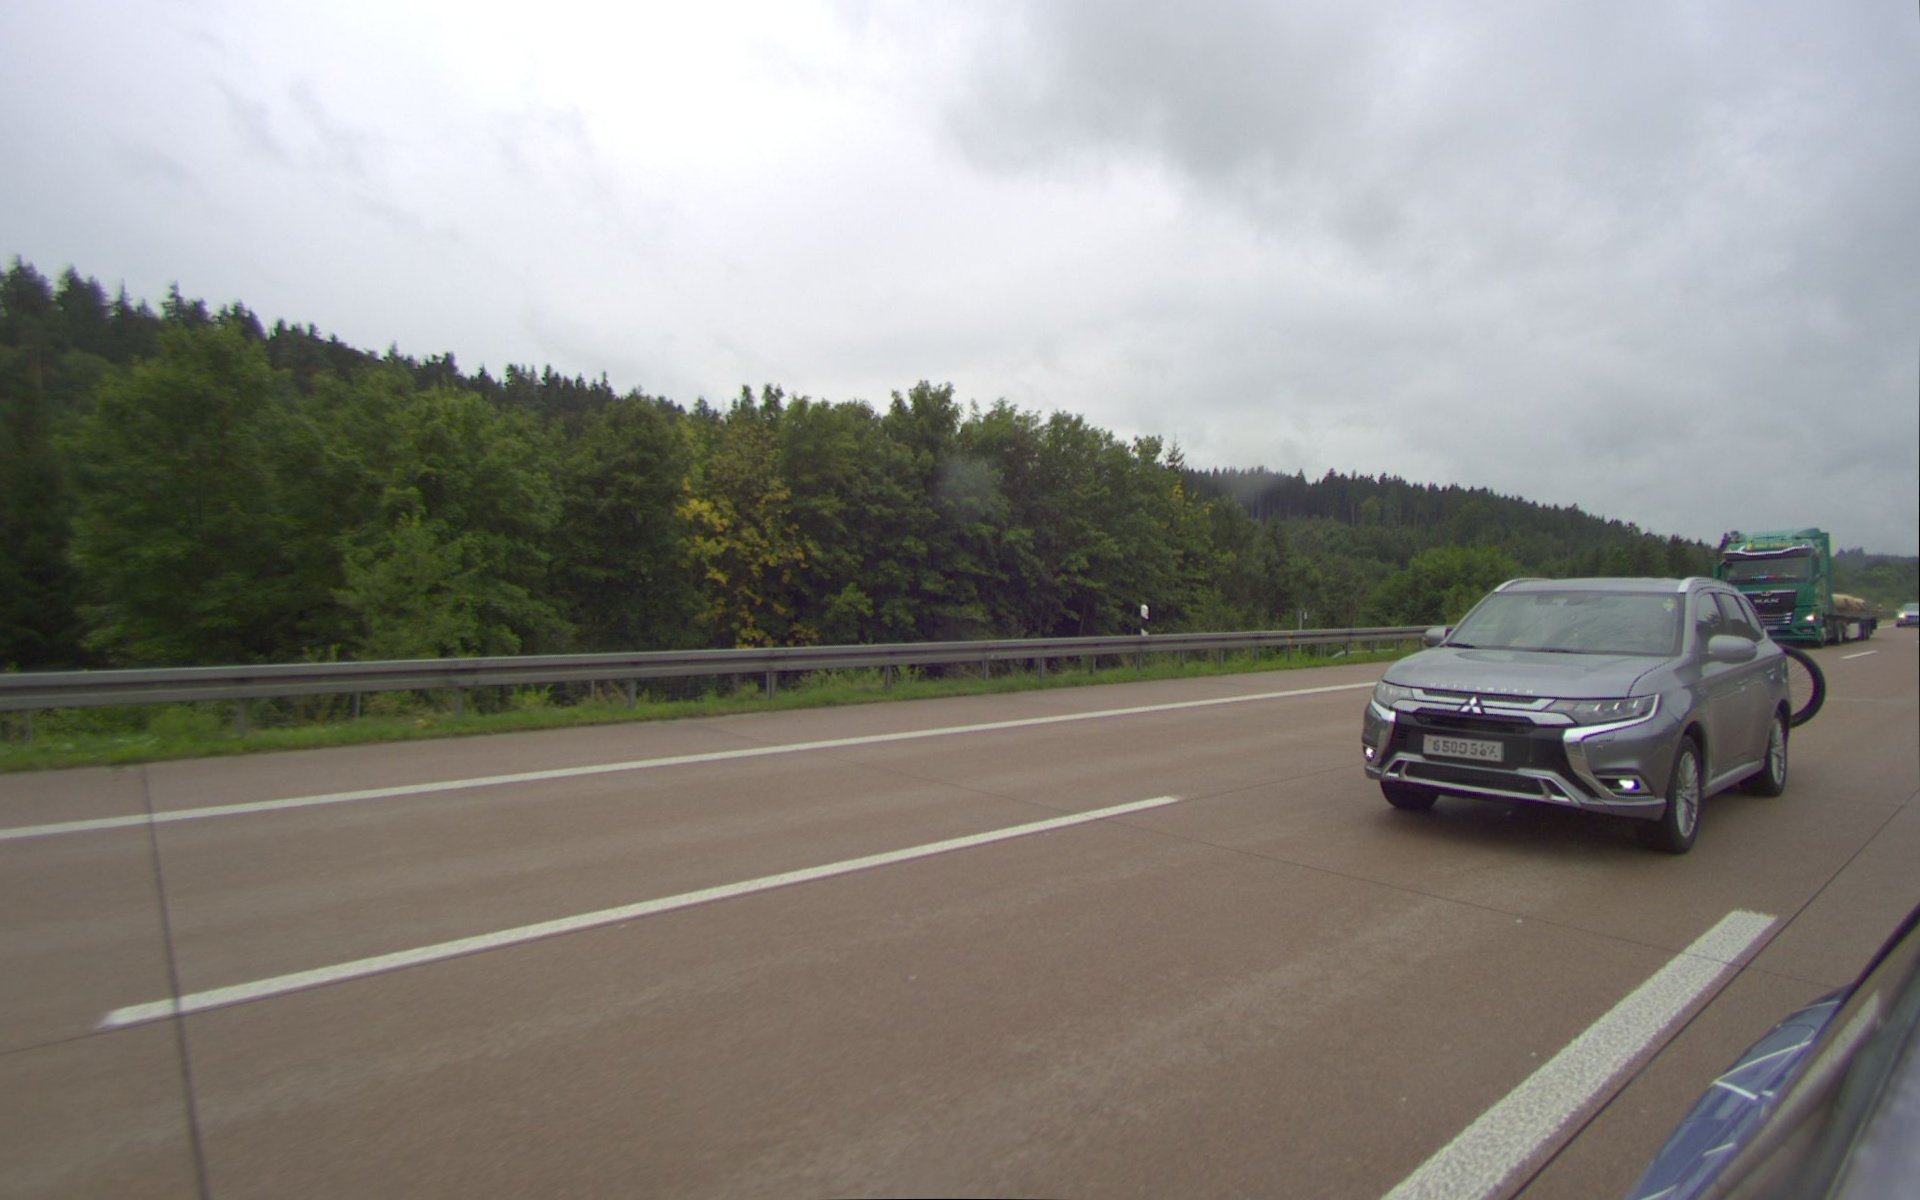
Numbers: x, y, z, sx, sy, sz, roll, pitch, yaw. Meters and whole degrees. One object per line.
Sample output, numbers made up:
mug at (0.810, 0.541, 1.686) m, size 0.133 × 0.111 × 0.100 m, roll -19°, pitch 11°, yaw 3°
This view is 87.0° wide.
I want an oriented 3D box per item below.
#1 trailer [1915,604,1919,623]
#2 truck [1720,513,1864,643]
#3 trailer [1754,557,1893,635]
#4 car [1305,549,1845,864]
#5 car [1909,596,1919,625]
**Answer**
trailer at (62.546, 0.854, 64.666) m, size 4.560 × 1.181 × 1.973 m, roll 0°, pitch 0°, yaw -43°
truck at (28.543, -0.733, 34.620) m, size 6.871 × 4.014 × 2.900 m, roll -1°, pitch 0°, yaw -43°
trailer at (34.334, -0.211, 40.001) m, size 11.206 × 2.709 × 2.884 m, roll -1°, pitch 0°, yaw -43°
car at (5.076, 0.479, 7.844) m, size 5.721 × 1.612 × 1.996 m, roll -2°, pitch 1°, yaw -42°
car at (59.103, 0.653, 61.607) m, size 4.894 × 1.631 × 1.700 m, roll -1°, pitch 2°, yaw -44°
